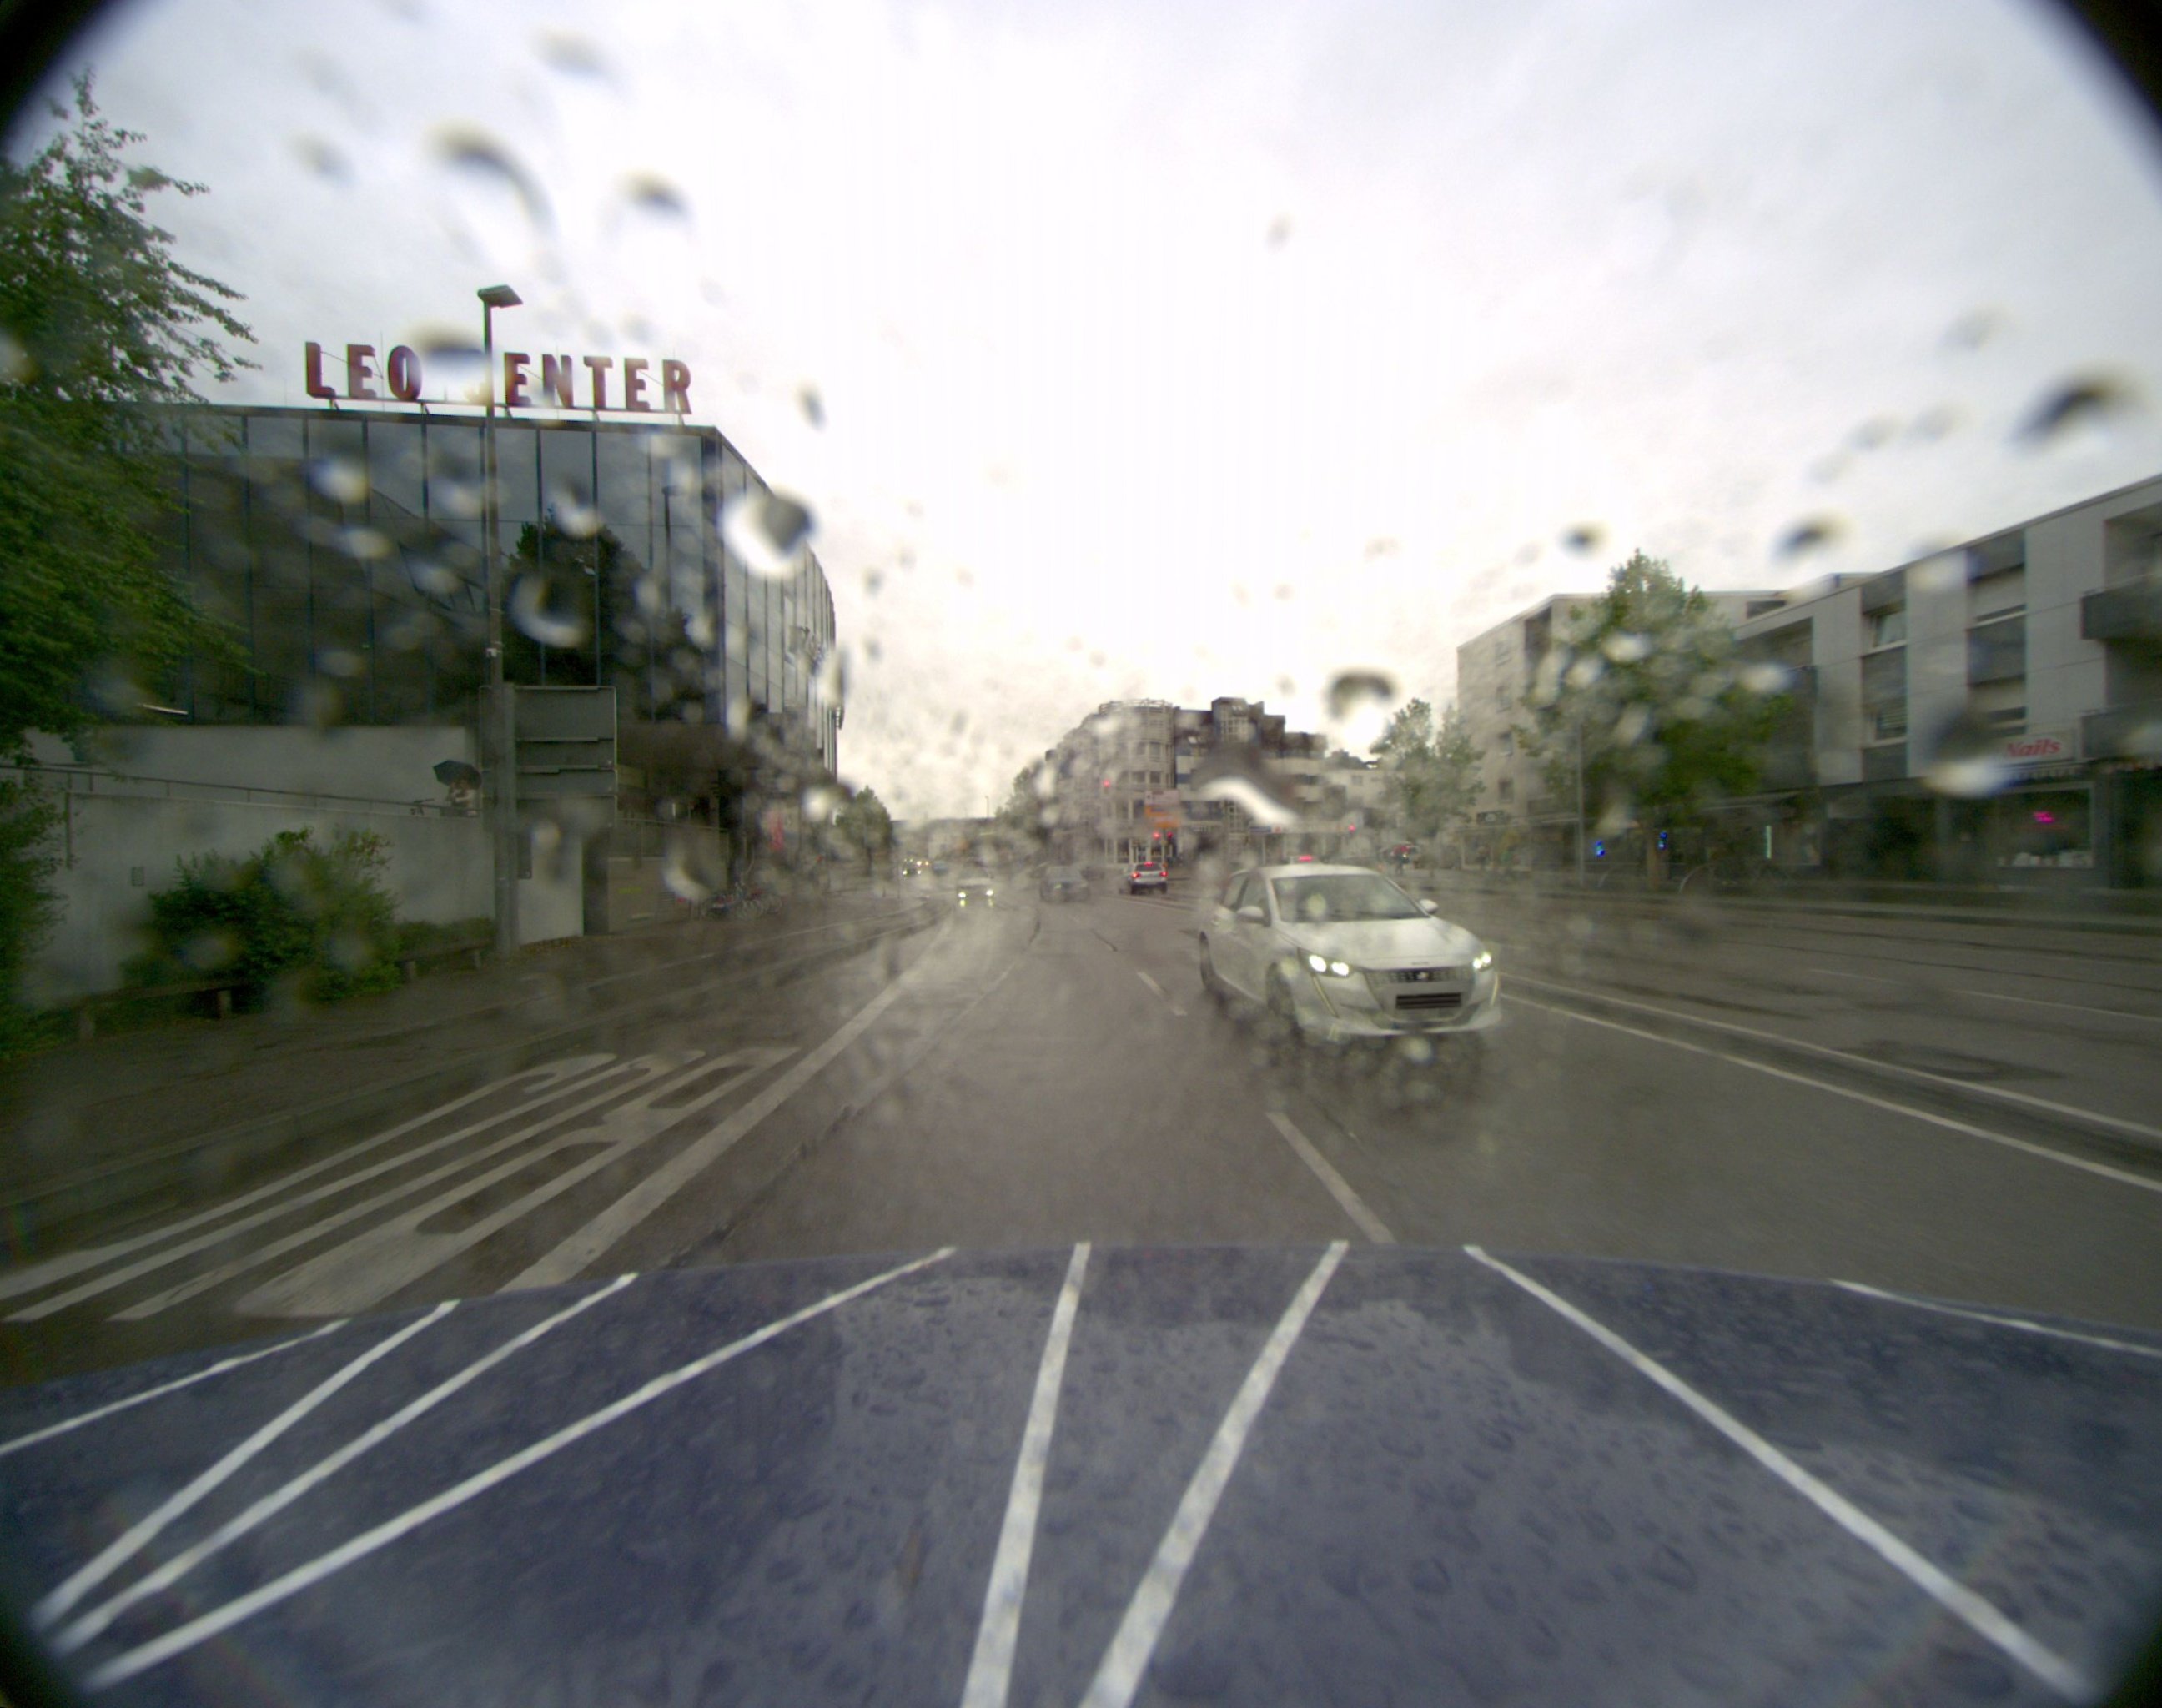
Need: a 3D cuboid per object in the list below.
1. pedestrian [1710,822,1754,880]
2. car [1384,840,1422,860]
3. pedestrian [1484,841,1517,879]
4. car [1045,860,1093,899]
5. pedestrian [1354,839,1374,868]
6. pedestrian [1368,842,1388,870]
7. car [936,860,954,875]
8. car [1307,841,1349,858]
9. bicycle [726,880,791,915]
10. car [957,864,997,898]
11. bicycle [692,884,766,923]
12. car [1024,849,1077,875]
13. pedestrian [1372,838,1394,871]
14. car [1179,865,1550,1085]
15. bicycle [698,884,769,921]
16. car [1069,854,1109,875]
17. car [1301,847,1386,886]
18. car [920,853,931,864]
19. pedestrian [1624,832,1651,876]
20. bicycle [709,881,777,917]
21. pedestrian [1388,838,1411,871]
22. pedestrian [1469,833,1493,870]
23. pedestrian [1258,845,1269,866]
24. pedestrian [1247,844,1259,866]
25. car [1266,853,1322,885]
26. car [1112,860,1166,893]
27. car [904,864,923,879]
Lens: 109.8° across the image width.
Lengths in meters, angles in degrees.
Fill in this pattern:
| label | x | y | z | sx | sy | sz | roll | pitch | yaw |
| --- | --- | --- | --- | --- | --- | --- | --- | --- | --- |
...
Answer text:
| label | x | y | z | sx | sy | sz | roll | pitch | yaw |
| --- | --- | --- | --- | --- | --- | --- | --- | --- | --- |
| pedestrian | 22.803 | -0.098 | 26.631 | 0.760 | 2.002 | 0.864 | -2 | 0 | 2 |
| car | 35.283 | -0.471 | 83.189 | 4.607 | 2.002 | 1.995 | -2 | 0 | -41 |
| pedestrian | 18.809 | 0.279 | 34.108 | 1.010 | 1.636 | 0.726 | -2 | 0 | -2 |
| car | -0.562 | 1.054 | 32.646 | 1.677 | 1.533 | 3.911 | -2 | -1 | -6 |
| pedestrian | 19.100 | -0.040 | 51.219 | 0.905 | 1.903 | 0.977 | -2 | 0 | -2 |
| pedestrian | 20.063 | 0.141 | 51.324 | 0.905 | 1.903 | 0.977 | -2 | 0 | -2 |
| car | -14.863 | 1.451 | 82.924 | 1.902 | 1.517 | 3.996 | -2 | 0 | -11 |
| car | 26.257 | -0.476 | 80.751 | 3.899 | 1.710 | 1.744 | -2 | 0 | -19 |
| bicycle | -10.642 | 1.426 | 25.082 | 1.835 | 1.104 | 0.694 | 0 | 1 | -3 |
| car | -5.256 | 1.325 | 38.874 | 1.763 | 1.540 | 4.325 | -3 | 0 | -6 |
| bicycle | -10.265 | 1.425 | 22.194 | 1.815 | 1.104 | 0.694 | 0 | 0 | -3 |
| car | -2.635 | 0.682 | 65.281 | 4.193 | 2.002 | 1.794 | -2 | 0 | -15 |
| pedestrian | 18.635 | 0.015 | 46.903 | 0.905 | 2.002 | 0.977 | -2 | 0 | -2 |
| car | 2.322 | 0.893 | 7.420 | 1.877 | 1.453 | 3.871 | -2 | 0 | -5 |
| bicycle | -10.480 | 1.452 | 22.949 | 1.806 | 1.079 | 0.684 | 0 | 1 | -3 |
| car | 0.638 | 0.773 | 56.812 | 1.630 | 1.481 | 3.846 | -2 | 0 | 22 |
| car | 10.415 | 0.506 | 30.437 | 1.762 | 1.418 | 3.999 | -2 | -1 | -4 |
| car | -24.550 | 0.669 | 120.182 | 1.584 | 1.630 | 3.637 | -2 | 0 | -11 |
| pedestrian | 22.691 | -0.003 | 31.000 | 0.549 | 1.740 | 0.680 | -2 | 0 | 1 |
| bicycle | -10.527 | 1.400 | 23.712 | 1.815 | 1.104 | 0.694 | 0 | 0 | -3 |
| pedestrian | 19.674 | 0.032 | 46.911 | 0.905 | 2.002 | 0.977 | -2 | 0 | -2 |
| pedestrian | 21.706 | -0.134 | 41.276 | 0.760 | 2.002 | 0.864 | -2 | 0 | -3 |
| pedestrian | 15.482 | 0.096 | 64.461 | 0.682 | 1.733 | 0.586 | -2 | 1 | 24 |
| pedestrian | 14.343 | 0.075 | 63.523 | 0.838 | 1.733 | 0.585 | -3 | 1 | 5 |
| car | 10.445 | 0.682 | 37.515 | 1.761 | 1.418 | 4.889 | -2 | 0 | 5 |
| car | 2.732 | 1.061 | 36.530 | 1.763 | 1.442 | 3.998 | -2 | -1 | -8 |
| car | -18.311 | 1.905 | 83.156 | 1.902 | 1.517 | 3.996 | -2 | 0 | -11 |
